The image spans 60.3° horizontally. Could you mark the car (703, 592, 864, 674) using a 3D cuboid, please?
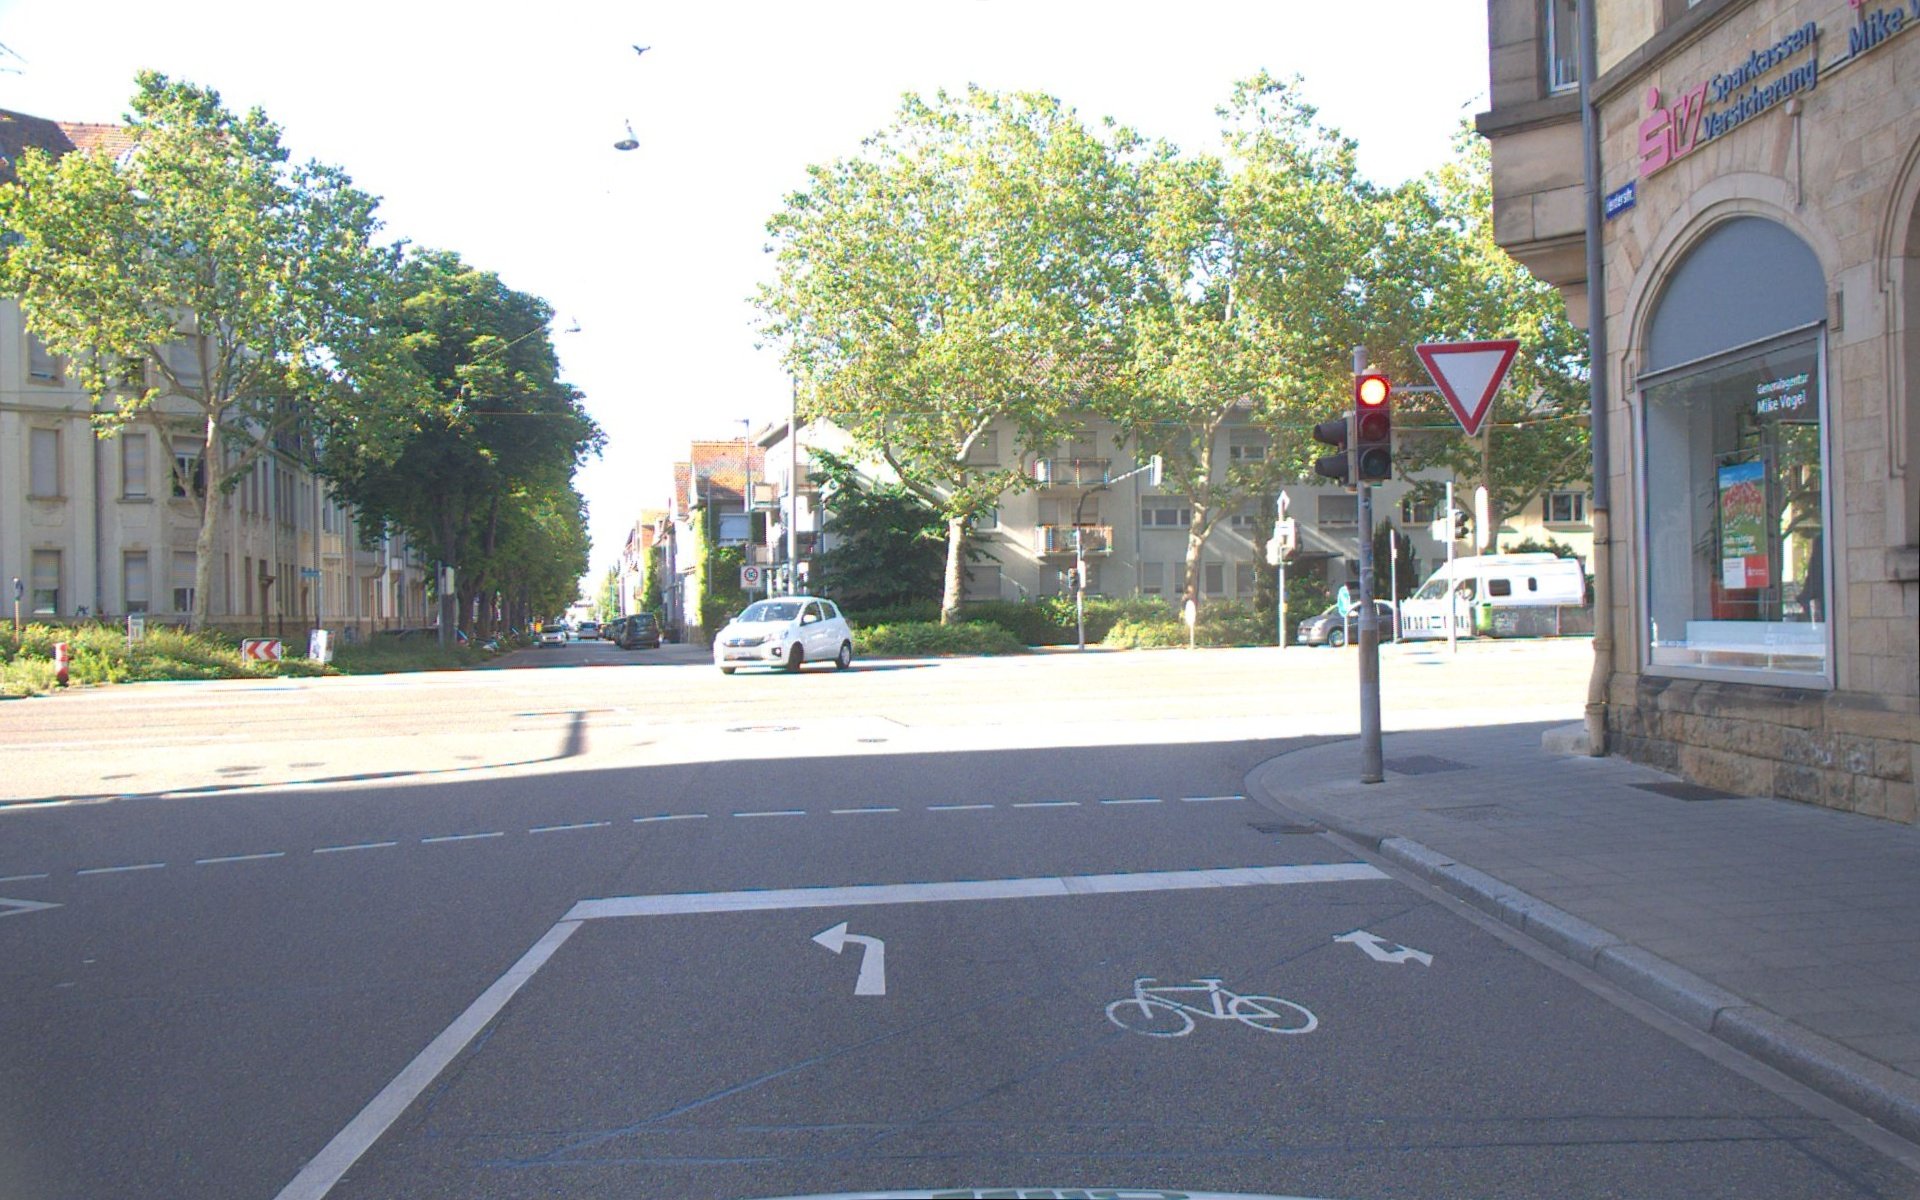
[{"bbox_3d":[-3.511,0.630,33.520,1.591,1.498,3.799,-2,0,22],"label":"car"}]

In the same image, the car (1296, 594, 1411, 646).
[{"bbox_3d":[12.612,0.633,53.060,3.333,1.513,1.514,-2,0,-23],"label":"car"}]

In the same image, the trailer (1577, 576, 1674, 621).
[{"bbox_3d":[21.246,-0.042,52.828,2.699,1.334,1.263,-2,0,-20],"label":"trailer"}]

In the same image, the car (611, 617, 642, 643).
[{"bbox_3d":[-25.205,2.258,124.895,1.961,1.865,3.982,0,-1,-16],"label":"car"}]

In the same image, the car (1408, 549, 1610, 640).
[{"bbox_3d":[17.078,-0.176,51.452,5.949,2.613,1.989,-2,0,-19],"label":"car"}]

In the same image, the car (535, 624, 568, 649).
[{"bbox_3d":[-26.640,2.345,107.802,1.960,1.471,3.984,-2,0,-15],"label":"car"}]

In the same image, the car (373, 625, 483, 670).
[{"bbox_3d":[-20.417,1.806,63.460,3.928,1.512,1.672,-2,0,-20],"label":"car"}]

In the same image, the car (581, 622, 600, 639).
[{"bbox_3d":[-33.115,2.731,148.220,1.646,1.509,3.509,0,-1,-14],"label":"car"}]

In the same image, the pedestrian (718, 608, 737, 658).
[{"bbox_3d":[-8.444,1.192,60.090,0.621,1.780,0.658,0,-1,-5],"label":"pedestrian"}]

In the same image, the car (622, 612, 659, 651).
[{"bbox_3d":[-18.211,1.775,94.395,1.957,2.049,3.990,-2,0,-10],"label":"car"}]
